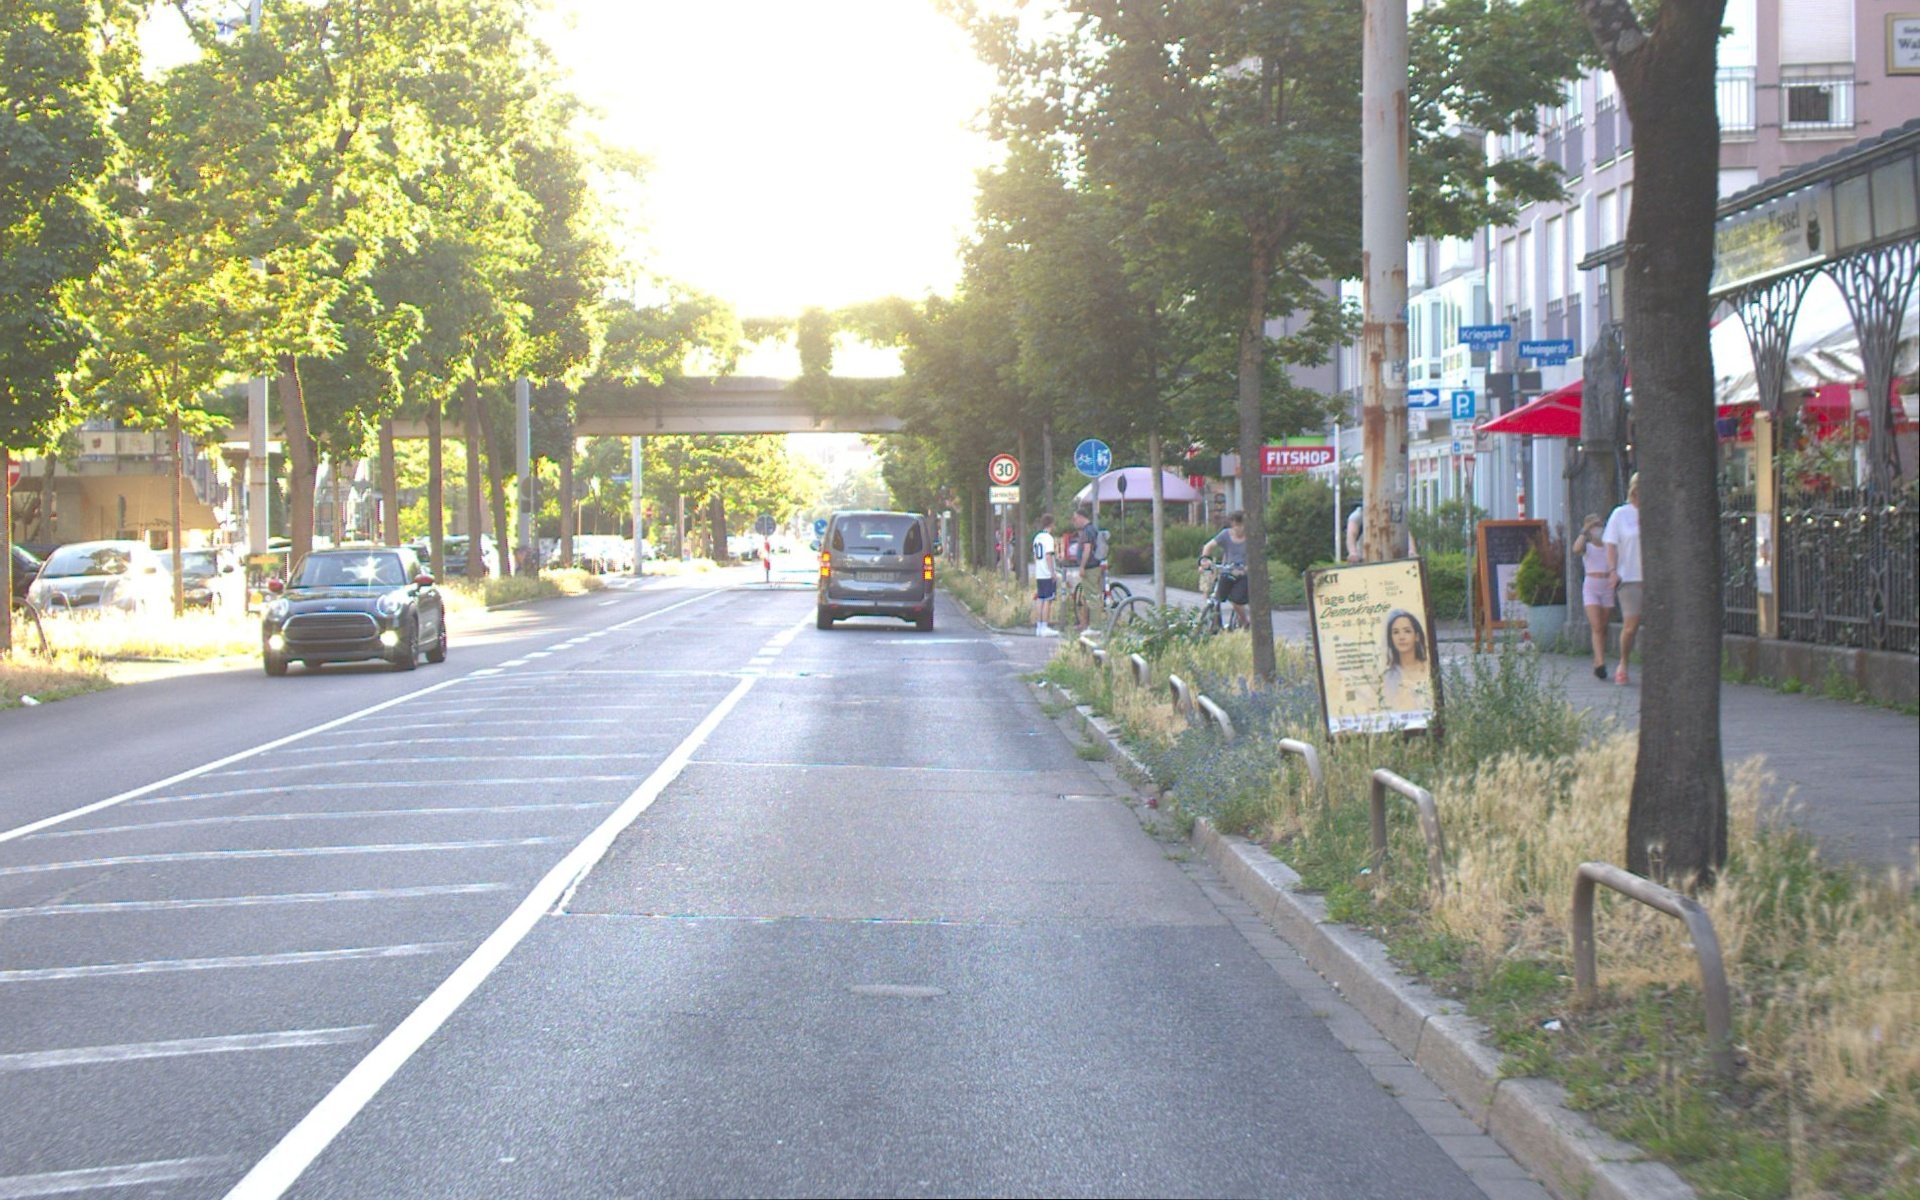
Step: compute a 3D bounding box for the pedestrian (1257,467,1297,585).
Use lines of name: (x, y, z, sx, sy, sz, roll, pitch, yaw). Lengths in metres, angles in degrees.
pedestrian: (6.879, -1.594, 74.625, 0.715, 2.530, 0.824, 1, 1, -1)

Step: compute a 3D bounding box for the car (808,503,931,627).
car: (-1.430, -0.594, 55.653, 1.887, 1.918, 3.839, -1, 1, 0)

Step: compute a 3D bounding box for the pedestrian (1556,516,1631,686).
pedestrian: (5.111, 0.004, 27.755, 0.467, 1.346, 0.530, 1, 1, -1)

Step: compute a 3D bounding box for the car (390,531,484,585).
car: (-14.520, -1.176, 95.632, 1.993, 1.409, 4.237, 1, 1, -1)

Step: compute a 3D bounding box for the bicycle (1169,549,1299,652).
bicycle: (3.353, 0.006, 41.946, 0.547, 1.222, 1.983, 2, 1, 38)

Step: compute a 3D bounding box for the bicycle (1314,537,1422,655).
bicycle: (3.260, -0.047, 27.575, 0.579, 0.894, 1.987, 1, 1, -1)

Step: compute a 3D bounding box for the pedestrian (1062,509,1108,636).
pedestrian: (1.879, -0.416, 51.619, 0.504, 1.882, 0.545, 1, 1, -16)

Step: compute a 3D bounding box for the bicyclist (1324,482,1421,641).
bicyclist: (3.303, -0.311, 27.576, 0.585, 1.232, 1.112, 1, 1, -1)

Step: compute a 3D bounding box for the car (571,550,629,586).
car: (-14.994, -1.350, 143.366, 1.993, 1.409, 4.237, 1, 1, -1)

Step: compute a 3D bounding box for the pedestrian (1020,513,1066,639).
pedestrian: (1.252, -0.369, 52.042, 0.504, 1.882, 0.545, 1, 1, -16)

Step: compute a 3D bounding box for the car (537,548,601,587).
car: (-14.703, -1.236, 129.462, 1.993, 1.409, 4.237, 1, 1, -1)

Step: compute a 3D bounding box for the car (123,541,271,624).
car: (-12.914, -0.325, 58.402, 1.671, 1.309, 3.965, 1, 1, -1)

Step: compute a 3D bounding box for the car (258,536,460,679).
car: (-6.948, 0.051, 40.083, 1.679, 1.525, 4.000, -2, 1, -1)

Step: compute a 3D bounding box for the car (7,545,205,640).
car: (-12.727, -0.142, 51.491, 1.993, 1.305, 4.066, 1, 1, -1)

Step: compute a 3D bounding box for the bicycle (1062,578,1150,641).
bicycle: (2.216, 0.138, 52.434, 0.588, 0.894, 1.988, 1, 1, -21)

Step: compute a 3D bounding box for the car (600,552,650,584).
car: (-15.708, -1.517, 161.467, 1.993, 1.409, 4.237, 1, 1, -1)

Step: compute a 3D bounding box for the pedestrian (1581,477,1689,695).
pedestrian: (5.145, -0.109, 26.235, 0.644, 1.627, 0.656, 1, 1, -1)

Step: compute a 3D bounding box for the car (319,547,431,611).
car: (-13.855, -0.524, 81.646, 1.993, 1.409, 4.237, 1, 1, -1)

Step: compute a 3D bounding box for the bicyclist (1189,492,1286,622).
bicyclist: (3.385, -0.525, 41.941, 0.753, 1.552, 0.936, 2, 1, 38)

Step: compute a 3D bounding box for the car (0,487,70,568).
car: (-27.767, -2.149, 100.907, 1.993, 2.300, 5.245, 1, 1, -1)
